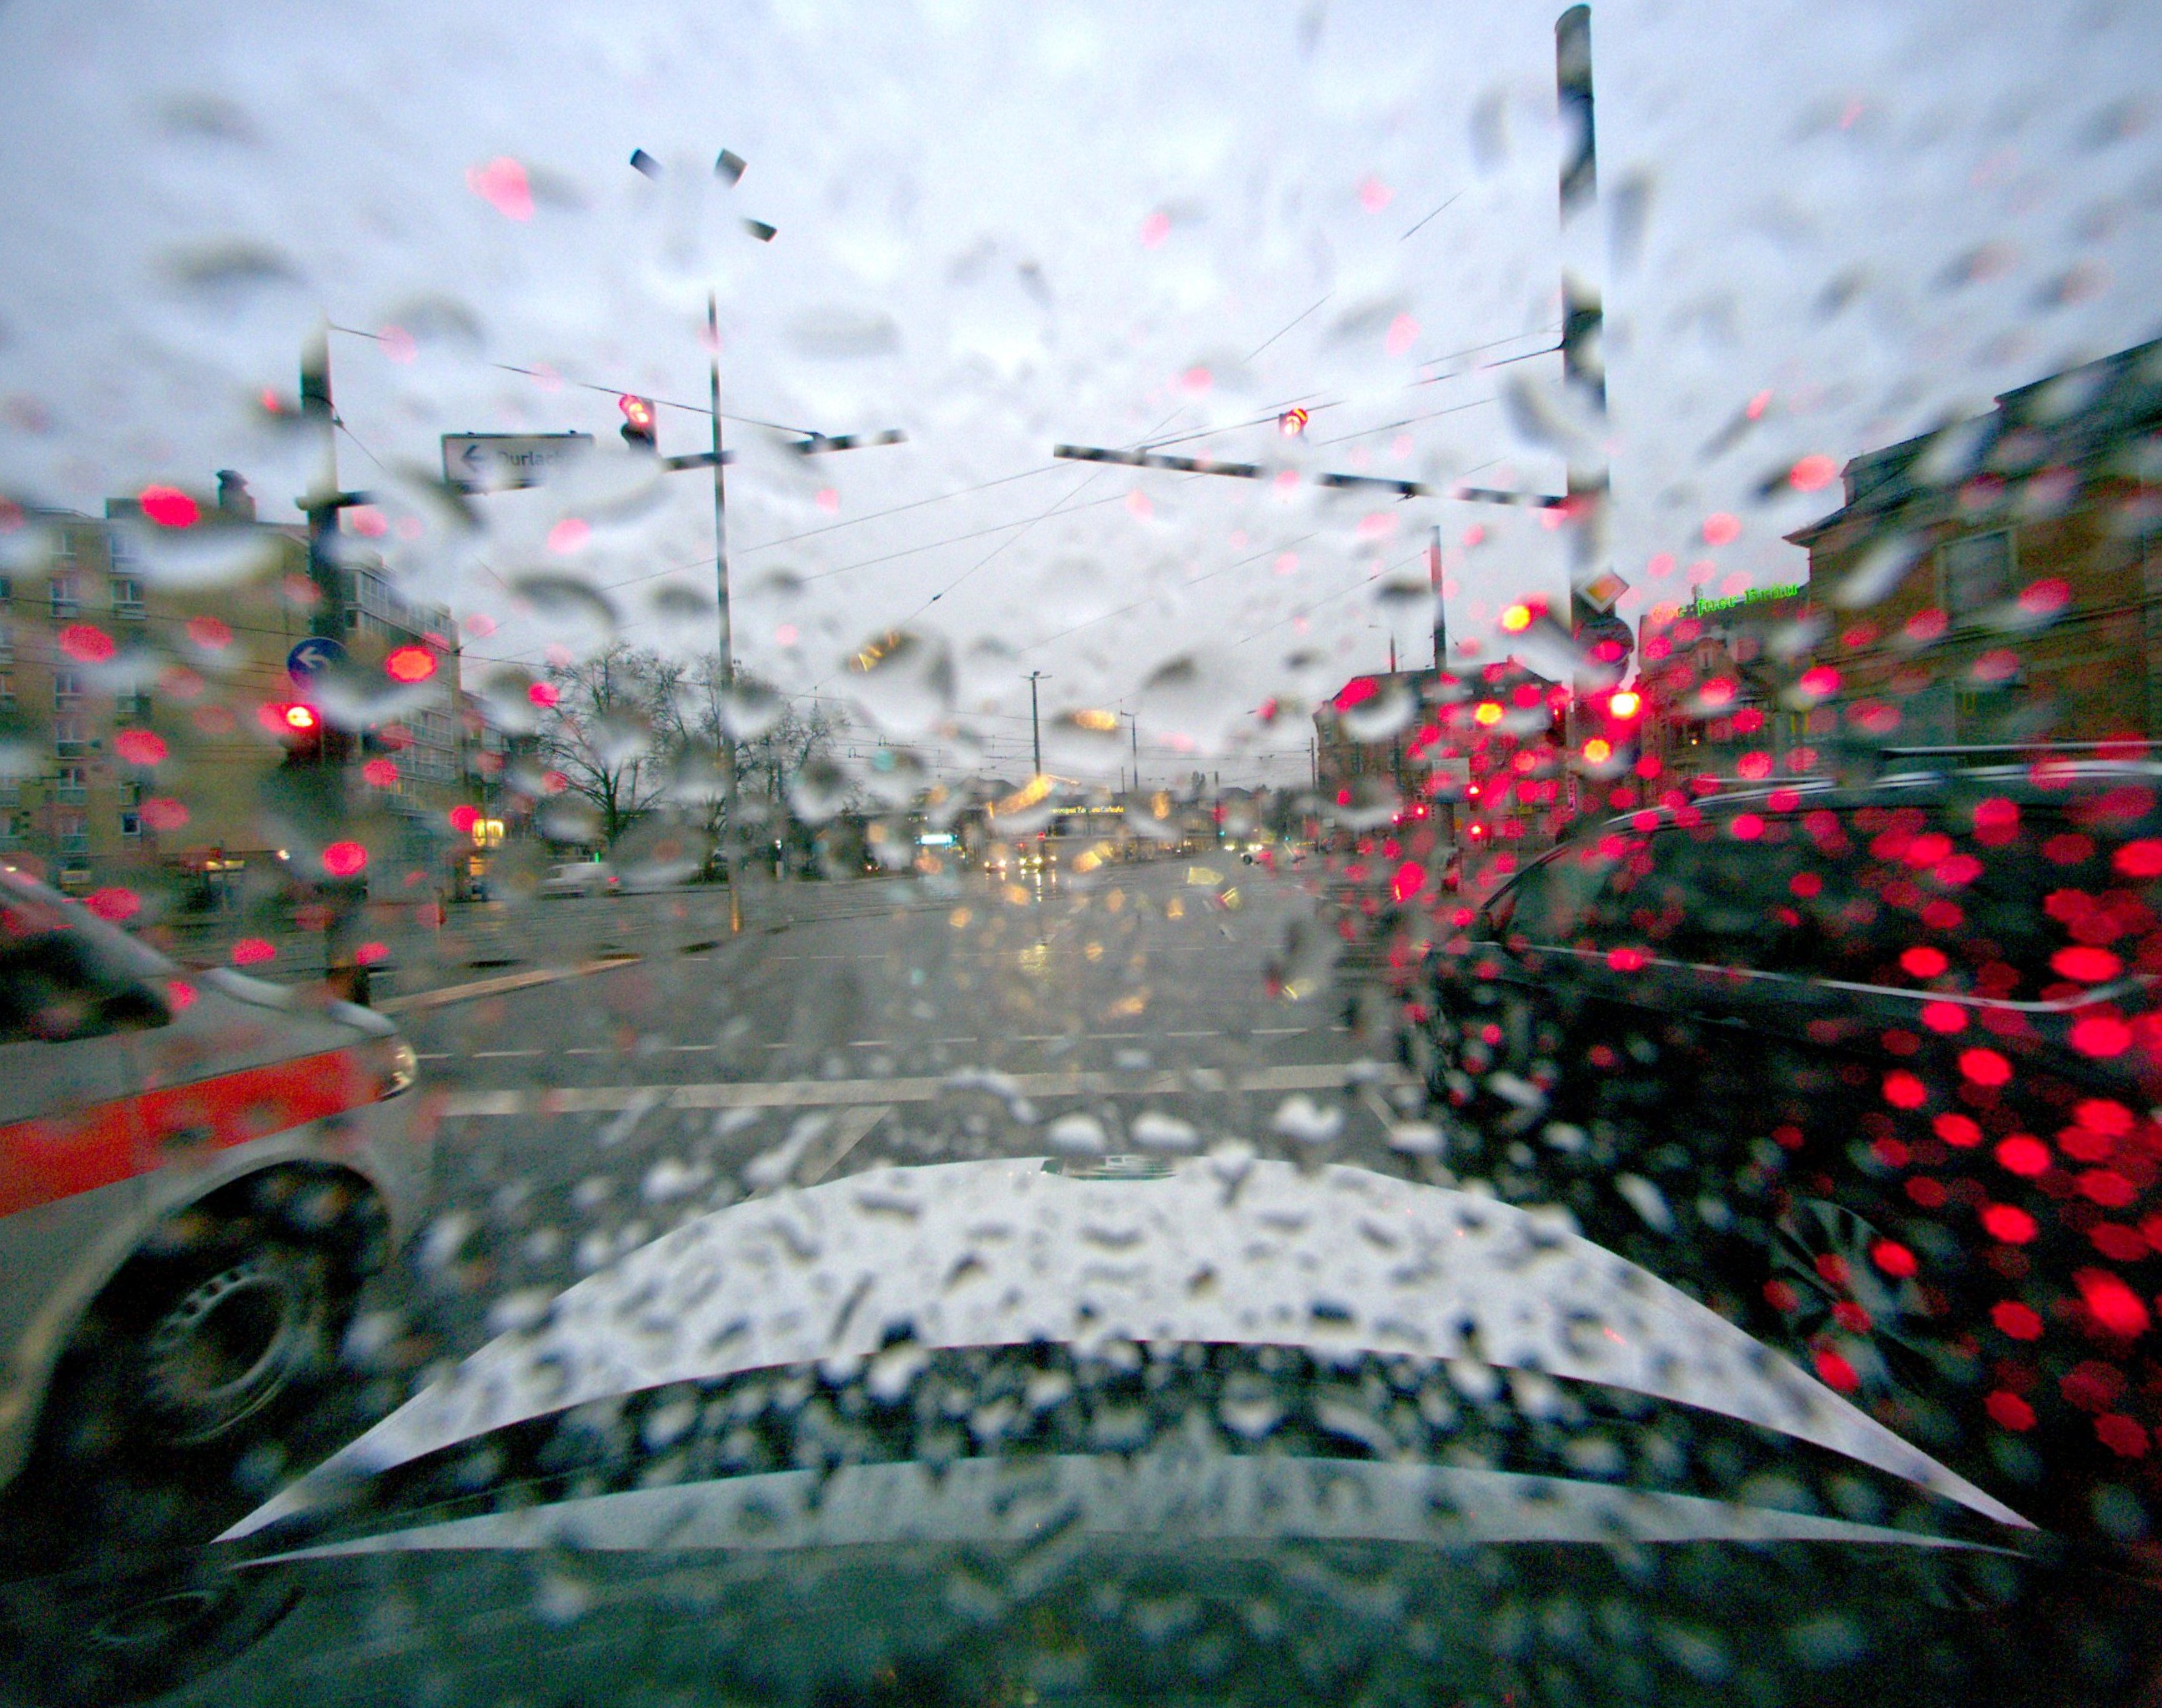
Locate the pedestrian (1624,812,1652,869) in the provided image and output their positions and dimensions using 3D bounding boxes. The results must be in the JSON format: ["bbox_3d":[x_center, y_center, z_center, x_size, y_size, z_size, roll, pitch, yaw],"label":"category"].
[{"bbox_3d":[19.570,-0.481,28.615,0.669,1.950,0.666,-3,0,28],"label":"pedestrian"}]

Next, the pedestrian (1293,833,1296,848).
[{"bbox_3d":[28.703,-1.840,109.473,0.341,2.013,0.420,-3,0,17],"label":"pedestrian"}]

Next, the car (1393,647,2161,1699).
[{"bbox_3d":[2.852,0.508,3.235,1.770,1.800,4.429,-1,1,4],"label":"car"}]

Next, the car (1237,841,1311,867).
[{"bbox_3d":[13.738,0.037,58.073,4.751,1.657,1.752,-3,0,36],"label":"car"}]

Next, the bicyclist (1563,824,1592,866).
[{"bbox_3d":[19.194,-0.356,31.500,0.783,1.575,0.687,-2,0,-41],"label":"bicyclist"}]

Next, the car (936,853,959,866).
[{"bbox_3d":[-16.774,0.658,102.473,1.854,1.601,4.004,-3,0,4],"label":"car"}]

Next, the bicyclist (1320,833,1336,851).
[{"bbox_3d":[24.561,-1.198,80.992,1.053,1.768,1.062,-3,0,-29],"label":"bicyclist"}]

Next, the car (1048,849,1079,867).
[{"bbox_3d":[-1.451,0.306,69.001,1.801,1.446,4.013,-3,0,11],"label":"car"}]

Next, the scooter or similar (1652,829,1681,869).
[{"bbox_3d":[19.816,-0.173,27.565,0.669,1.317,0.832,-3,0,29],"label":"scooter or similar"}]

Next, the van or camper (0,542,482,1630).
[{"bbox_3d":[-3.274,0.463,0.299,2.192,2.109,4.991,-1,0,3],"label":"van or camper"}]

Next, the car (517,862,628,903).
[{"bbox_3d":[-25.807,1.475,41.537,4.416,2.014,1.899,0,-4,-19],"label":"car"}]

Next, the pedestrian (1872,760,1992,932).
[{"bbox_3d":[10.448,-0.106,10.039,0.800,2.013,0.765,-1,3,26],"label":"pedestrian"}]

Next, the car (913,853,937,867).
[{"bbox_3d":[-19.658,0.748,102.779,1.854,1.601,4.004,-3,0,4],"label":"car"}]

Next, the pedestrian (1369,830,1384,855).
[{"bbox_3d":[25.018,-0.961,68.968,0.732,2.013,0.782,-2,0,-27],"label":"pedestrian"}]

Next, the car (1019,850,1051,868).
[{"bbox_3d":[-3.967,0.452,71.301,1.801,1.446,4.013,-3,0,11],"label":"car"}]

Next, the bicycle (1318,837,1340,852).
[{"bbox_3d":[24.641,-0.914,81.065,0.699,1.376,2.188,-2,0,-28],"label":"bicycle"}]

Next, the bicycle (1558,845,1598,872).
[{"bbox_3d":[19.203,0.163,31.463,2.025,0.980,0.687,-3,0,-41],"label":"bicycle"}]

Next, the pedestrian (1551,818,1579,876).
[{"bbox_3d":[16.792,-0.244,28.252,0.669,1.950,0.681,-3,0,38],"label":"pedestrian"}]

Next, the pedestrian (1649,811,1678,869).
[{"bbox_3d":[20.183,-0.487,28.238,0.669,1.950,0.666,-3,0,29],"label":"pedestrian"}]

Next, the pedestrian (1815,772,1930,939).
[{"bbox_3d":[9.577,0.006,9.894,0.800,1.929,0.765,-1,3,26],"label":"pedestrian"}]

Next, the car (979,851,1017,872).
[{"bbox_3d":[-6.539,0.571,64.691,1.801,1.446,4.013,-3,0,11],"label":"car"}]

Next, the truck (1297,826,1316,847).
[{"bbox_3d":[29.696,-2.272,107.289,1.977,2.691,5.140,-3,0,19],"label":"truck"}]

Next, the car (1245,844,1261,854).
[{"bbox_3d":[27.810,-0.829,131.757,1.847,1.601,3.805,-3,0,20],"label":"car"}]
